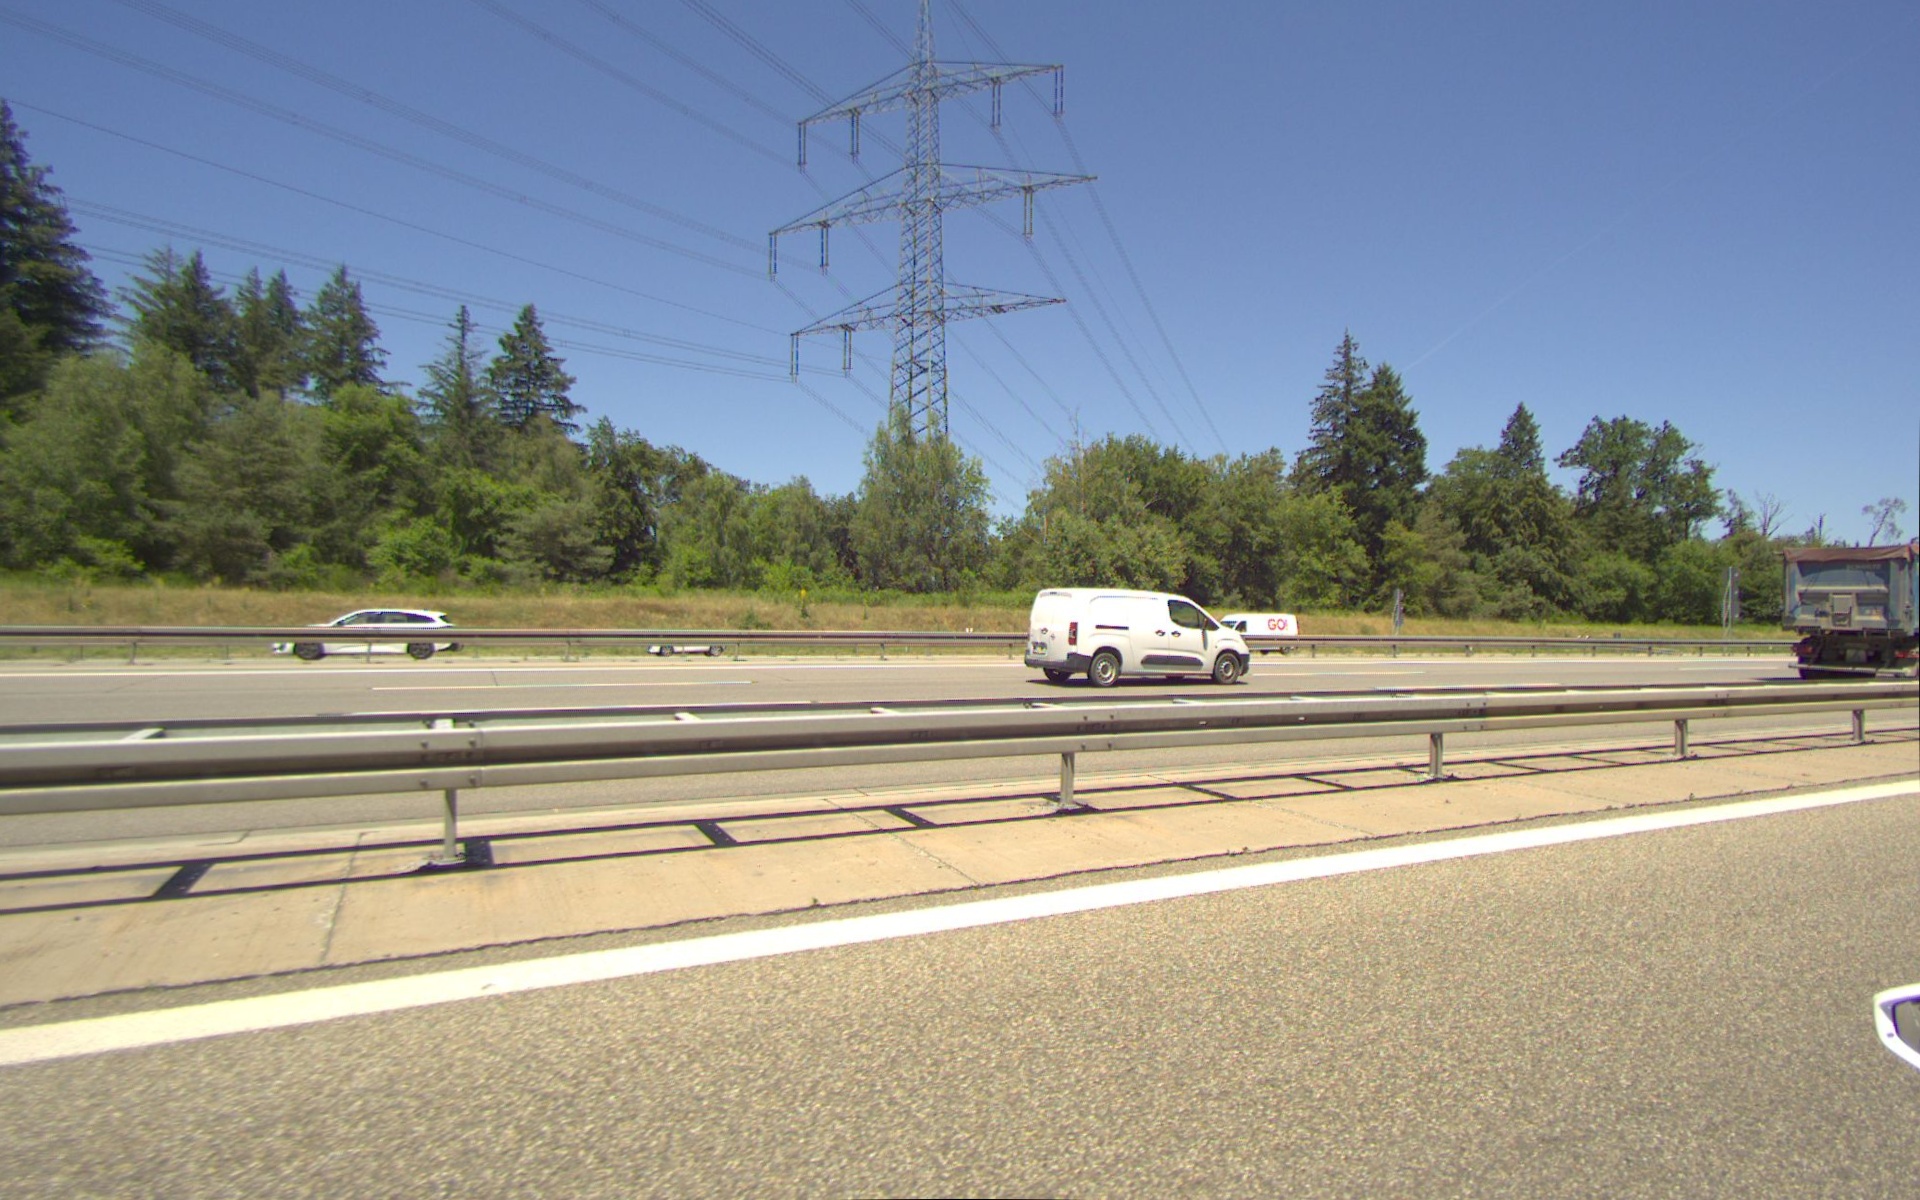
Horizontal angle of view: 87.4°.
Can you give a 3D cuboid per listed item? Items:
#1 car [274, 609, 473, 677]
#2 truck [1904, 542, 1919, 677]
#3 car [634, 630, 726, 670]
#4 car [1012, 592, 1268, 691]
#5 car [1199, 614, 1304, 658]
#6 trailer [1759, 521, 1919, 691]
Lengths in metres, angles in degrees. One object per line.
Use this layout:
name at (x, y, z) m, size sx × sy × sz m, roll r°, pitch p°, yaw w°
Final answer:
car at (-16.784, 1.257, 29.019) m, size 4.754 × 1.806 × 1.985 m, roll 2°, pitch -1°, yaw -29°
truck at (29.803, 0.309, 28.728) m, size 4.562 × 3.858 × 2.747 m, roll 1°, pitch -1°, yaw -27°
car at (-13.610, 2.432, 48.787) m, size 3.951 × 1.806 × 1.985 m, roll 2°, pitch -1°, yaw -29°
car at (3.613, 0.810, 19.874) m, size 4.956 × 1.777 × 1.765 m, roll 2°, pitch -1°, yaw -28°
car at (18.536, 2.281, 63.709) m, size 6.824 × 2.577 × 1.986 m, roll 2°, pitch -1°, yaw -27°
trailer at (25.020, 0.216, 26.245) m, size 9.758 × 3.858 × 2.761 m, roll 1°, pitch -1°, yaw -27°
